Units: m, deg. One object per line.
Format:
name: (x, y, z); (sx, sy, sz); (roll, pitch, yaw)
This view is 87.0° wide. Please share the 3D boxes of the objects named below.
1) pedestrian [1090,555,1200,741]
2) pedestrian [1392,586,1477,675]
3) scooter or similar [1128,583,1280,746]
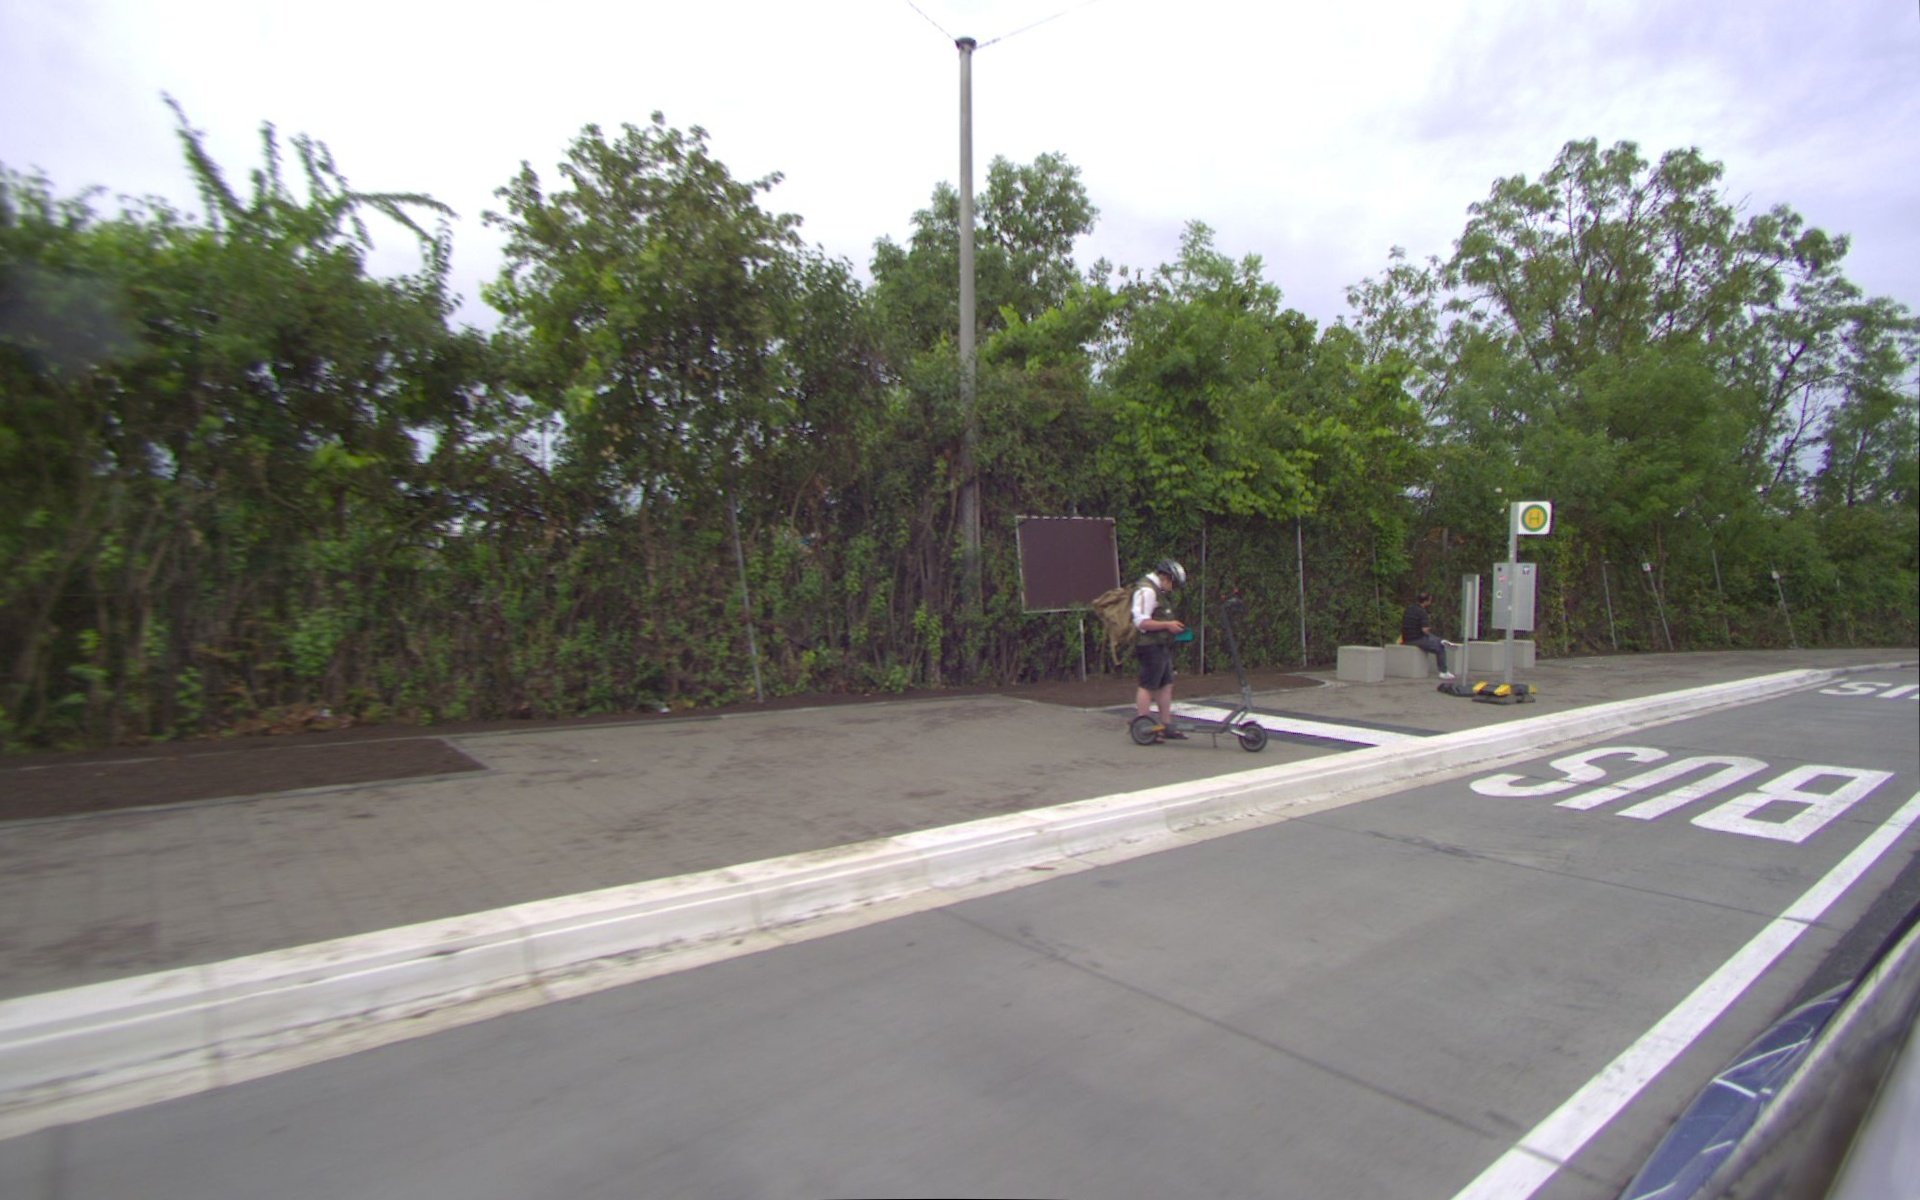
pedestrian: (1.641, 0.397, 8.927); (0.907, 1.566, 0.542); (1, 1, 14)
pedestrian: (7.437, 0.457, 15.900); (1.052, 1.346, 0.807); (1, 1, 14)
scooter or similar: (2.053, 0.527, 8.575); (1.223, 1.332, 0.231); (1, 0, 12)
